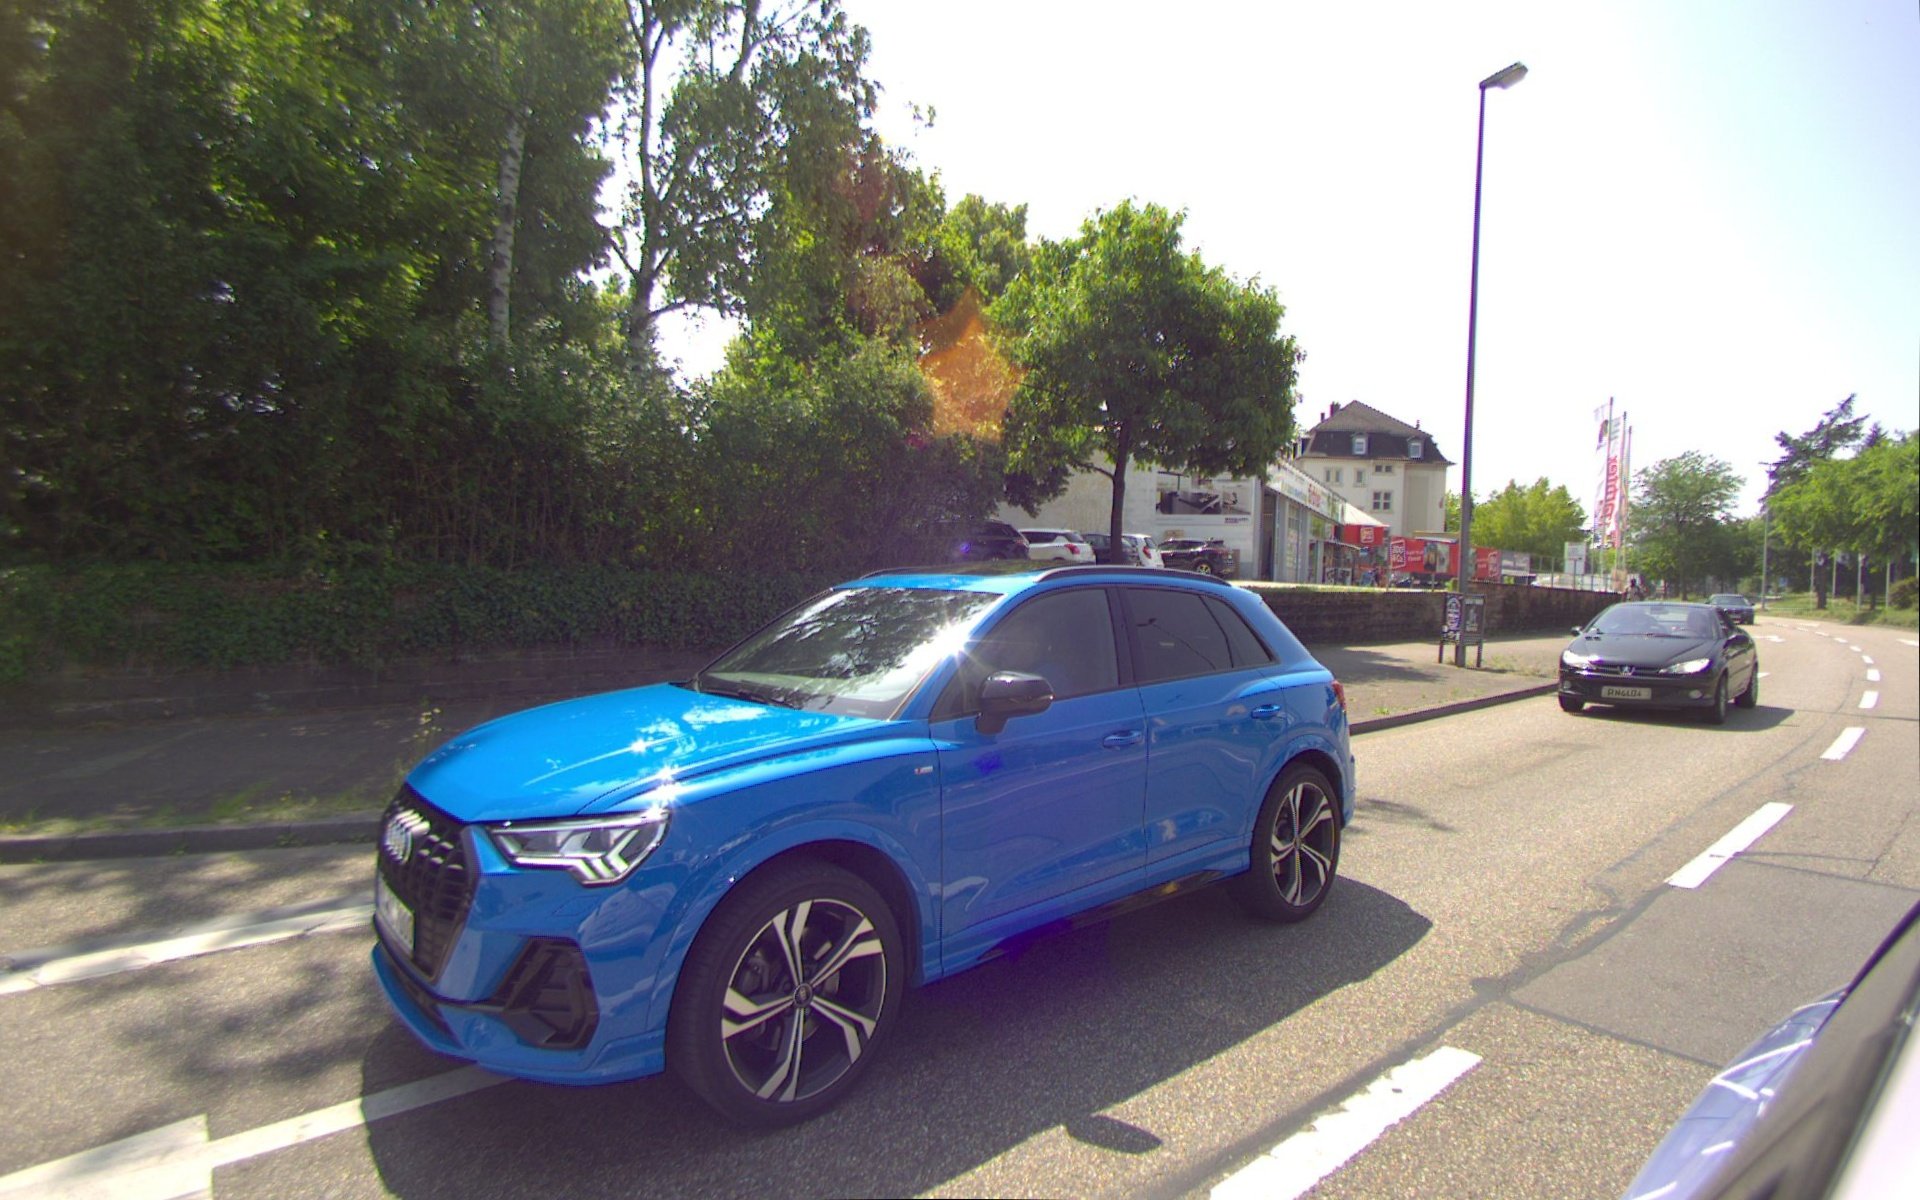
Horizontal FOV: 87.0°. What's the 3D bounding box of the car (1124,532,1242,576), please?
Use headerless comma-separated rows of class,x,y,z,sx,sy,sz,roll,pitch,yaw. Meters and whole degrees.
car,8.350,-1.727,37.937,3.966,1.559,1.720,2,1,30

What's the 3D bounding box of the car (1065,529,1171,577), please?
car,5.196,-1.540,33.370,3.132,1.490,1.485,2,1,34

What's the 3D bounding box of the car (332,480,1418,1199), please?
car,-0.025,0.539,4.333,4.317,1.617,1.917,0,1,-40

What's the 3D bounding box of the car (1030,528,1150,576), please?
car,4.006,-1.458,31.152,3.294,1.403,1.641,1,1,31

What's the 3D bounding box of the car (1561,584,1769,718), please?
car,8.979,0.566,12.785,1.600,1.443,3.602,0,-1,44

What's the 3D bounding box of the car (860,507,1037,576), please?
car,-0.308,-1.326,23.726,3.768,1.502,2.004,0,1,-16

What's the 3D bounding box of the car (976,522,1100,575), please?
car,2.236,-1.459,29.137,3.263,1.429,1.514,1,1,31

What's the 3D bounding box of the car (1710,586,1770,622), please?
car,36.240,0.138,47.095,1.685,1.390,3.958,3,4,31
